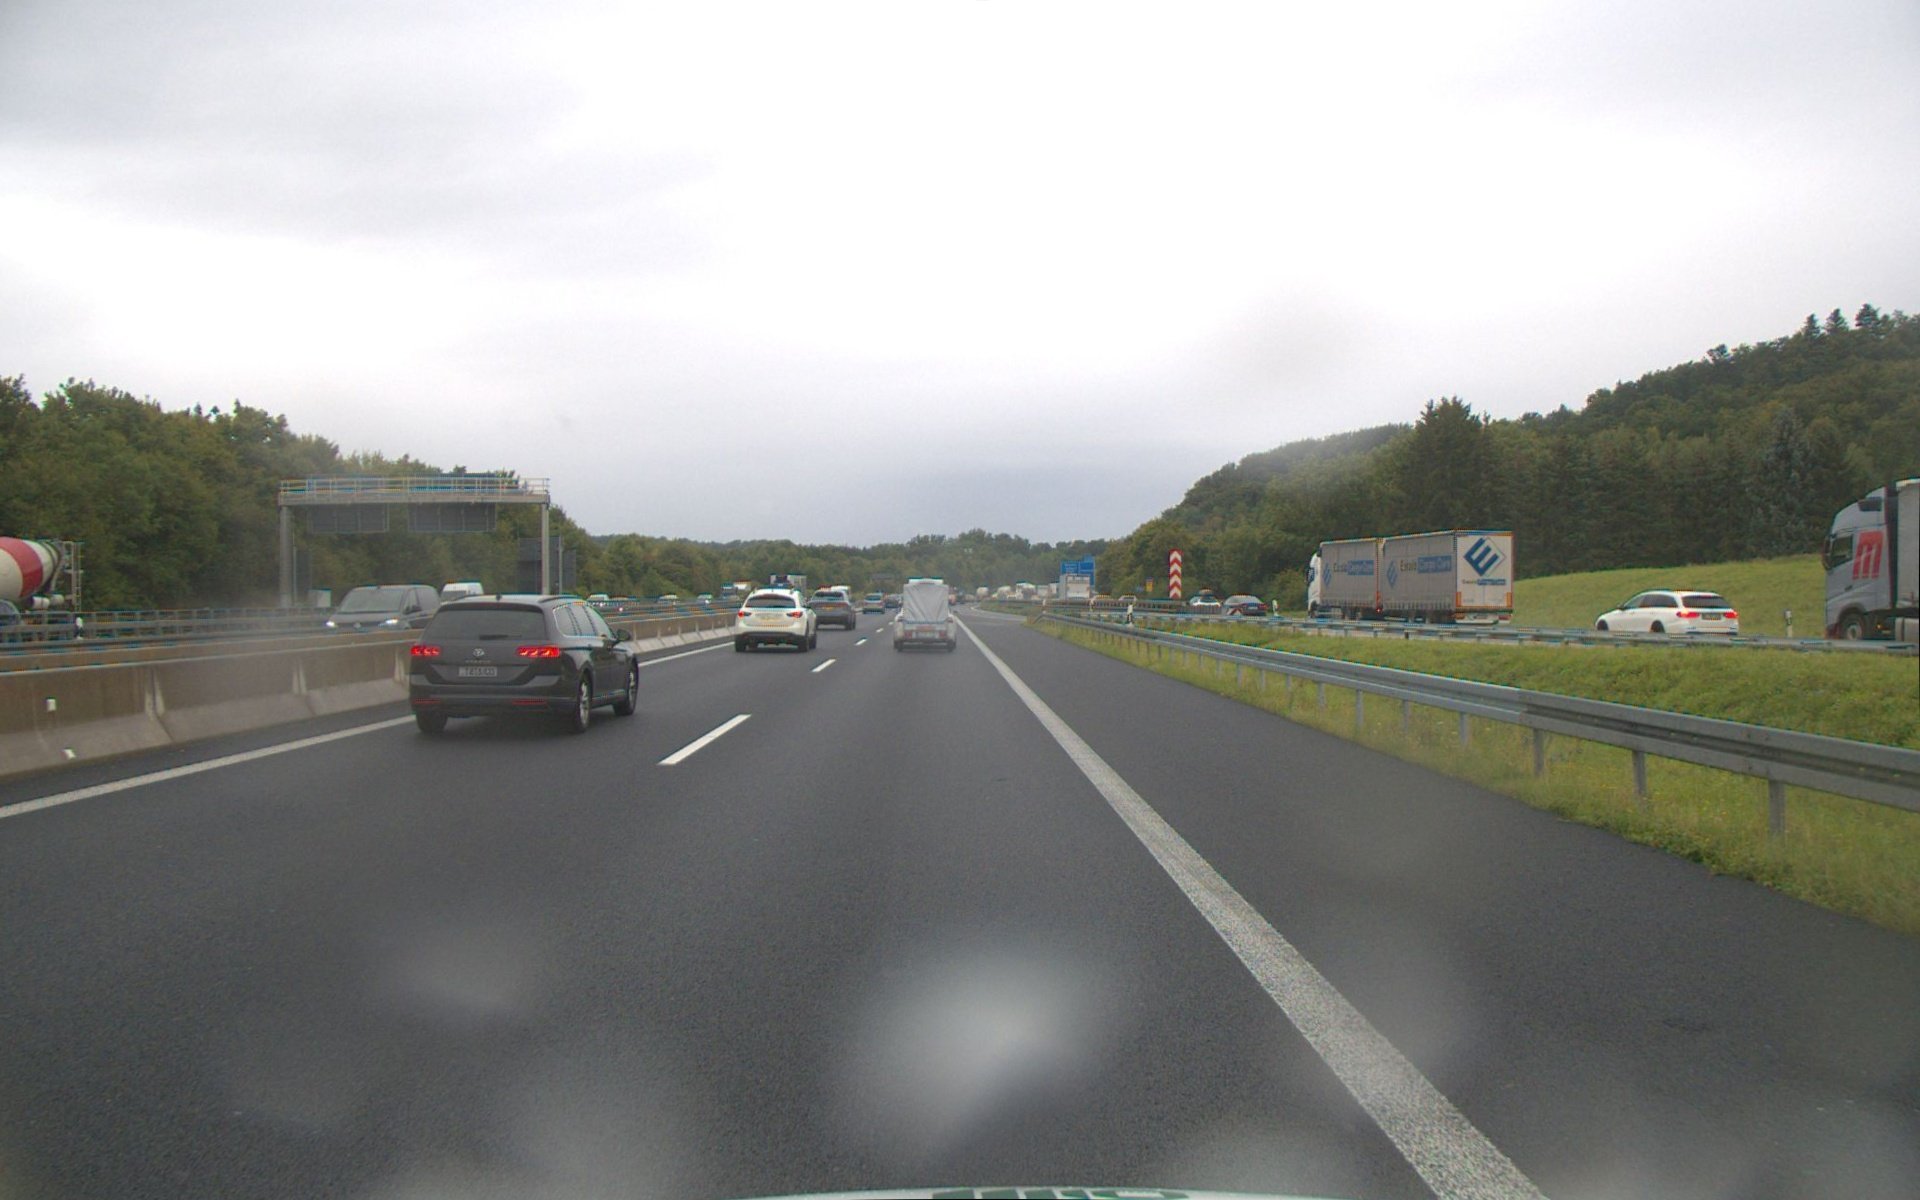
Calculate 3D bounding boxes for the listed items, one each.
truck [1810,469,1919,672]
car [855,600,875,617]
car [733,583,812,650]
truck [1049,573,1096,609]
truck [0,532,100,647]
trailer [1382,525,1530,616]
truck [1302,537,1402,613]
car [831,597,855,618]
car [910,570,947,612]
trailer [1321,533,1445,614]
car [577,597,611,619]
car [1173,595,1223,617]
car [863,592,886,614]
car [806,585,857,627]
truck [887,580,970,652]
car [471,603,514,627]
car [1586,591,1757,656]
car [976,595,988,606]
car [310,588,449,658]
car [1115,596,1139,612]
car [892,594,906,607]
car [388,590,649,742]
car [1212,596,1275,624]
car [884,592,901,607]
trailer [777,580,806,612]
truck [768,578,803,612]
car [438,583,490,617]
[{"bbox_3d":[24.199,-0.688,33.513,3.747,4.620,16.861,0,0,-6],"label":"truck"},{"bbox_3d":[-9.404,0.847,163.504,1.782,1.691,4.016,0,0,-1],"label":"car"},{"bbox_3d":[-5.062,0.410,44.950,2.009,1.700,4.535,1,0,-6],"label":"car"},{"bbox_3d":[11.868,-0.930,175.460,3.750,3.723,8.264,1,0,-5],"label":"truck"},{"bbox_3d":[-32.390,-0.344,55.165,2.631,3.725,9.555,-1,0,-2],"label":"truck"},{"bbox_3d":[21.009,-1.182,70.623,3.020,3.588,8.071,1,0,-7],"label":"trailer"},{"bbox_3d":[19.536,-1.206,82.770,2.882,3.588,5.917,1,0,-8],"label":"truck"},{"bbox_3d":[-9.859,0.597,139.156,1.782,1.691,4.016,0,0,-1],"label":"car"},{"bbox_3d":[-2.145,-0.626,110.843,2.285,2.773,6.536,0,1,-3],"label":"car"},{"bbox_3d":[20.021,-1.193,78.810,2.882,3.588,8.407,1,0,-7],"label":"trailer"},{"bbox_3d":[-30.413,0.624,137.564,1.953,1.767,4.581,-1,0,-2],"label":"car"},{"bbox_3d":[15.887,0.389,110.617,1.949,1.401,5.069,0,0,-9],"label":"car"},{"bbox_3d":[-7.034,0.232,136.234,1.703,1.825,3.999,1,0,-1],"label":"car"},{"bbox_3d":[-5.573,0.235,72.193,1.936,1.733,4.801,1,0,-1],"label":"car"},{"bbox_3d":[-0.934,0.423,47.286,2.197,1.871,6.582,1,0,-2],"label":"truck"},{"bbox_3d":[-29.323,0.945,103.898,1.557,1.450,3.918,1,0,0],"label":"car"},{"bbox_3d":[19.015,0.604,44.497,1.956,1.645,5.071,0,0,-7],"label":"car"},{"bbox_3d":[3.268,0.095,244.147,1.612,1.601,3.999,1,0,-1],"label":"car"},{"bbox_3d":[-14.880,0.542,42.700,1.953,1.679,5.025,1,0,-2],"label":"car"},{"bbox_3d":[14.206,0.340,140.750,1.662,1.311,3.534,1,0,-1],"label":"car"},{"bbox_3d":[-7.930,0.095,214.576,1.612,1.601,3.999,1,0,-1],"label":"car"},{"bbox_3d":[-4.827,0.648,18.796,1.751,1.484,4.801,1,0,-1],"label":"car"},{"bbox_3d":[14.976,0.501,87.653,1.948,1.401,5.312,0,1,-6],"label":"car"},{"bbox_3d":[-7.222,-0.029,177.414,1.612,1.601,3.999,1,0,-1],"label":"car"},{"bbox_3d":[-19.753,-0.457,194.381,2.883,3.577,8.048,1,0,-2],"label":"trailer"},{"bbox_3d":[-19.462,-0.548,185.042,2.751,3.586,10.639,1,0,-1],"label":"truck"},{"bbox_3d":[-33.782,-0.032,112.804,1.953,2.252,5.714,0,0,-1],"label":"car"}]
